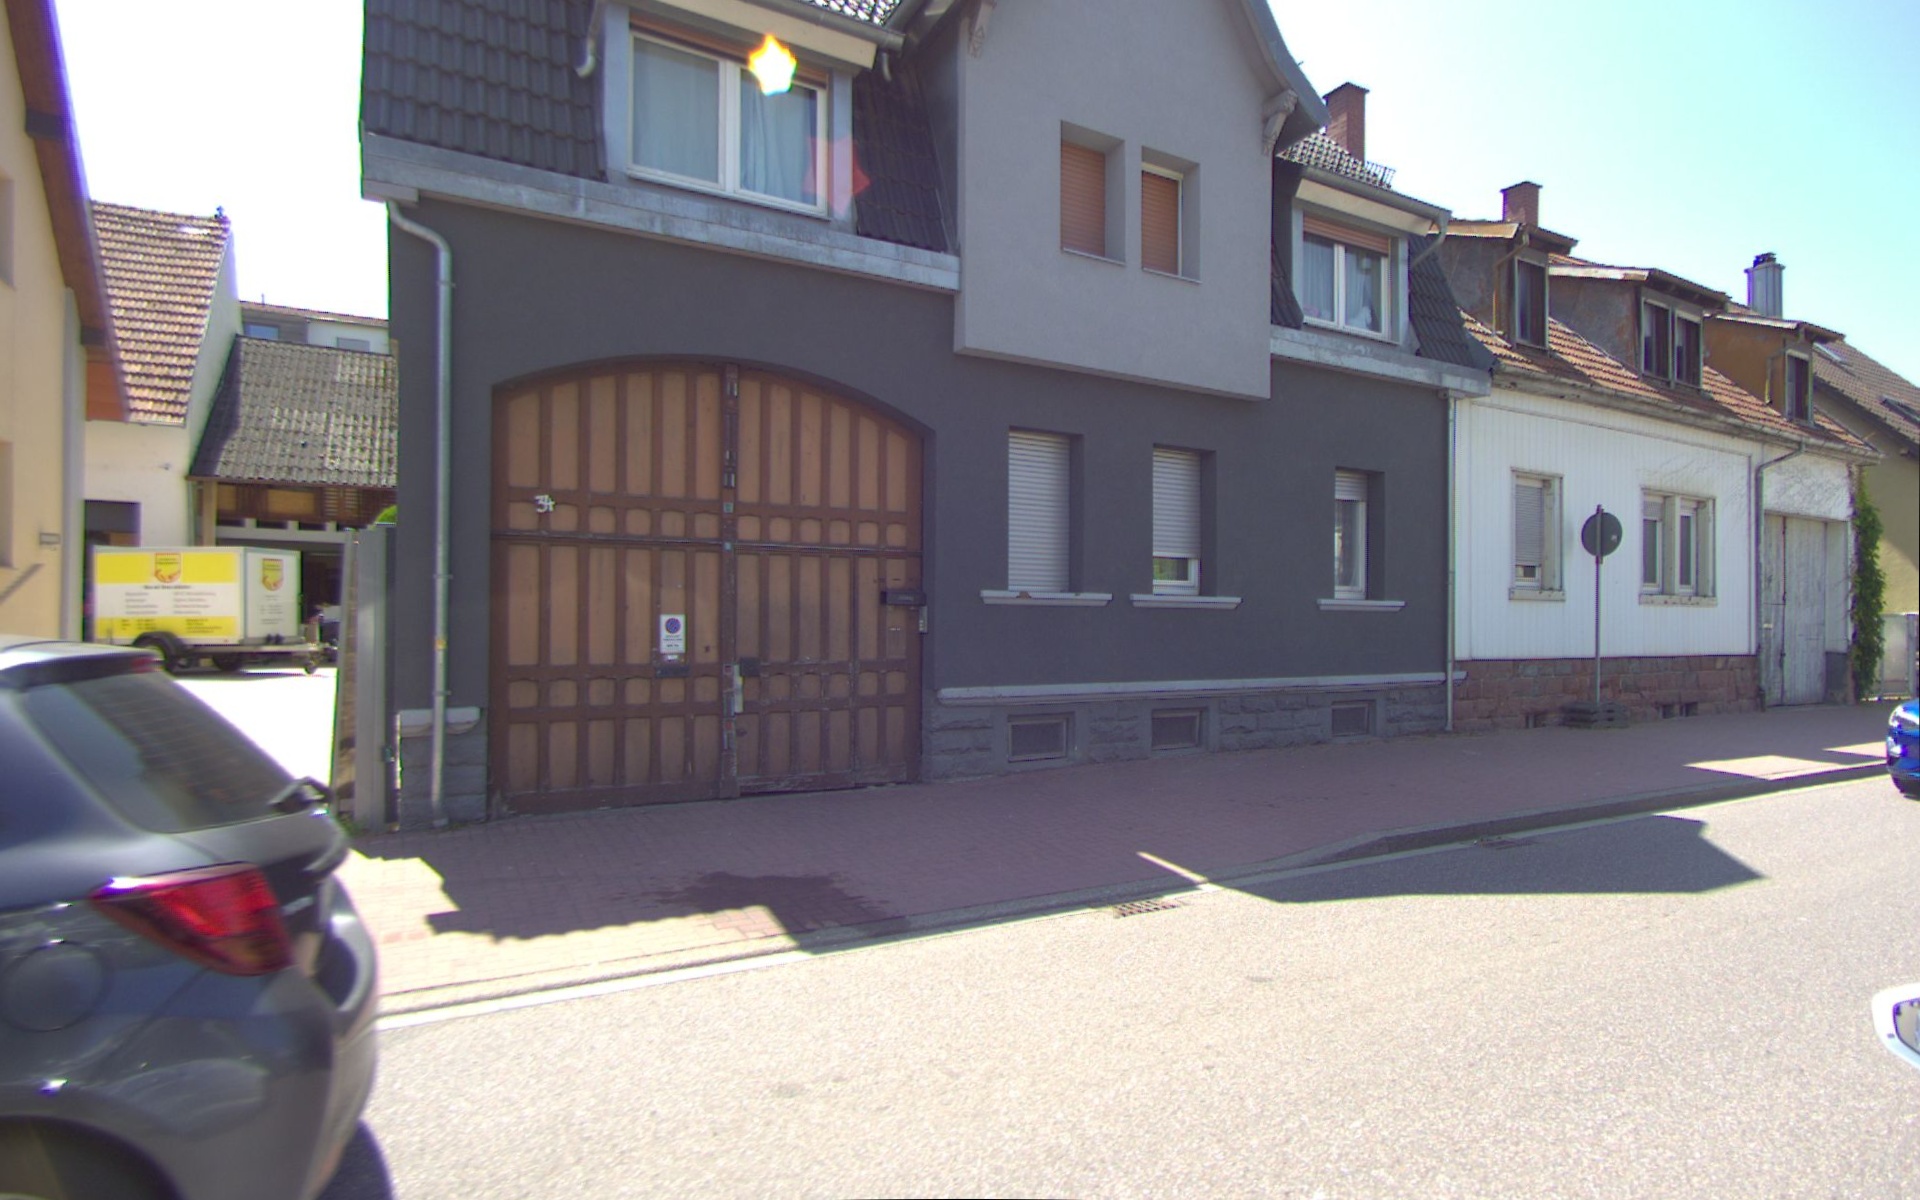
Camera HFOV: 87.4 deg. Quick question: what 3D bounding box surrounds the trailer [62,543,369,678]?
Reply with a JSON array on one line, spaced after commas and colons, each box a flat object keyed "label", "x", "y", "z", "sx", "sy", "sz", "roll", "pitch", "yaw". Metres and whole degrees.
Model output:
[{"label": "trailer", "x": -12.383, "y": 0.182, "z": 16.875, "sx": 3.840, "sy": 2.133, "sz": 1.738, "roll": 0, "pitch": -1, "yaw": 2}]

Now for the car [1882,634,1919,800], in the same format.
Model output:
[{"label": "car", "x": 10.685, "y": 1.068, "z": 9.500, "sx": 4.348, "sy": 1.473, "sz": 1.638, "roll": 1, "pitch": -2, "yaw": -30}]

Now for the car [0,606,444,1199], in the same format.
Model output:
[{"label": "car", "x": -3.120, "y": 0.758, "z": 1.743, "sx": 3.882, "sy": 1.478, "sz": 1.669, "roll": 1, "pitch": -3, "yaw": -30}]
